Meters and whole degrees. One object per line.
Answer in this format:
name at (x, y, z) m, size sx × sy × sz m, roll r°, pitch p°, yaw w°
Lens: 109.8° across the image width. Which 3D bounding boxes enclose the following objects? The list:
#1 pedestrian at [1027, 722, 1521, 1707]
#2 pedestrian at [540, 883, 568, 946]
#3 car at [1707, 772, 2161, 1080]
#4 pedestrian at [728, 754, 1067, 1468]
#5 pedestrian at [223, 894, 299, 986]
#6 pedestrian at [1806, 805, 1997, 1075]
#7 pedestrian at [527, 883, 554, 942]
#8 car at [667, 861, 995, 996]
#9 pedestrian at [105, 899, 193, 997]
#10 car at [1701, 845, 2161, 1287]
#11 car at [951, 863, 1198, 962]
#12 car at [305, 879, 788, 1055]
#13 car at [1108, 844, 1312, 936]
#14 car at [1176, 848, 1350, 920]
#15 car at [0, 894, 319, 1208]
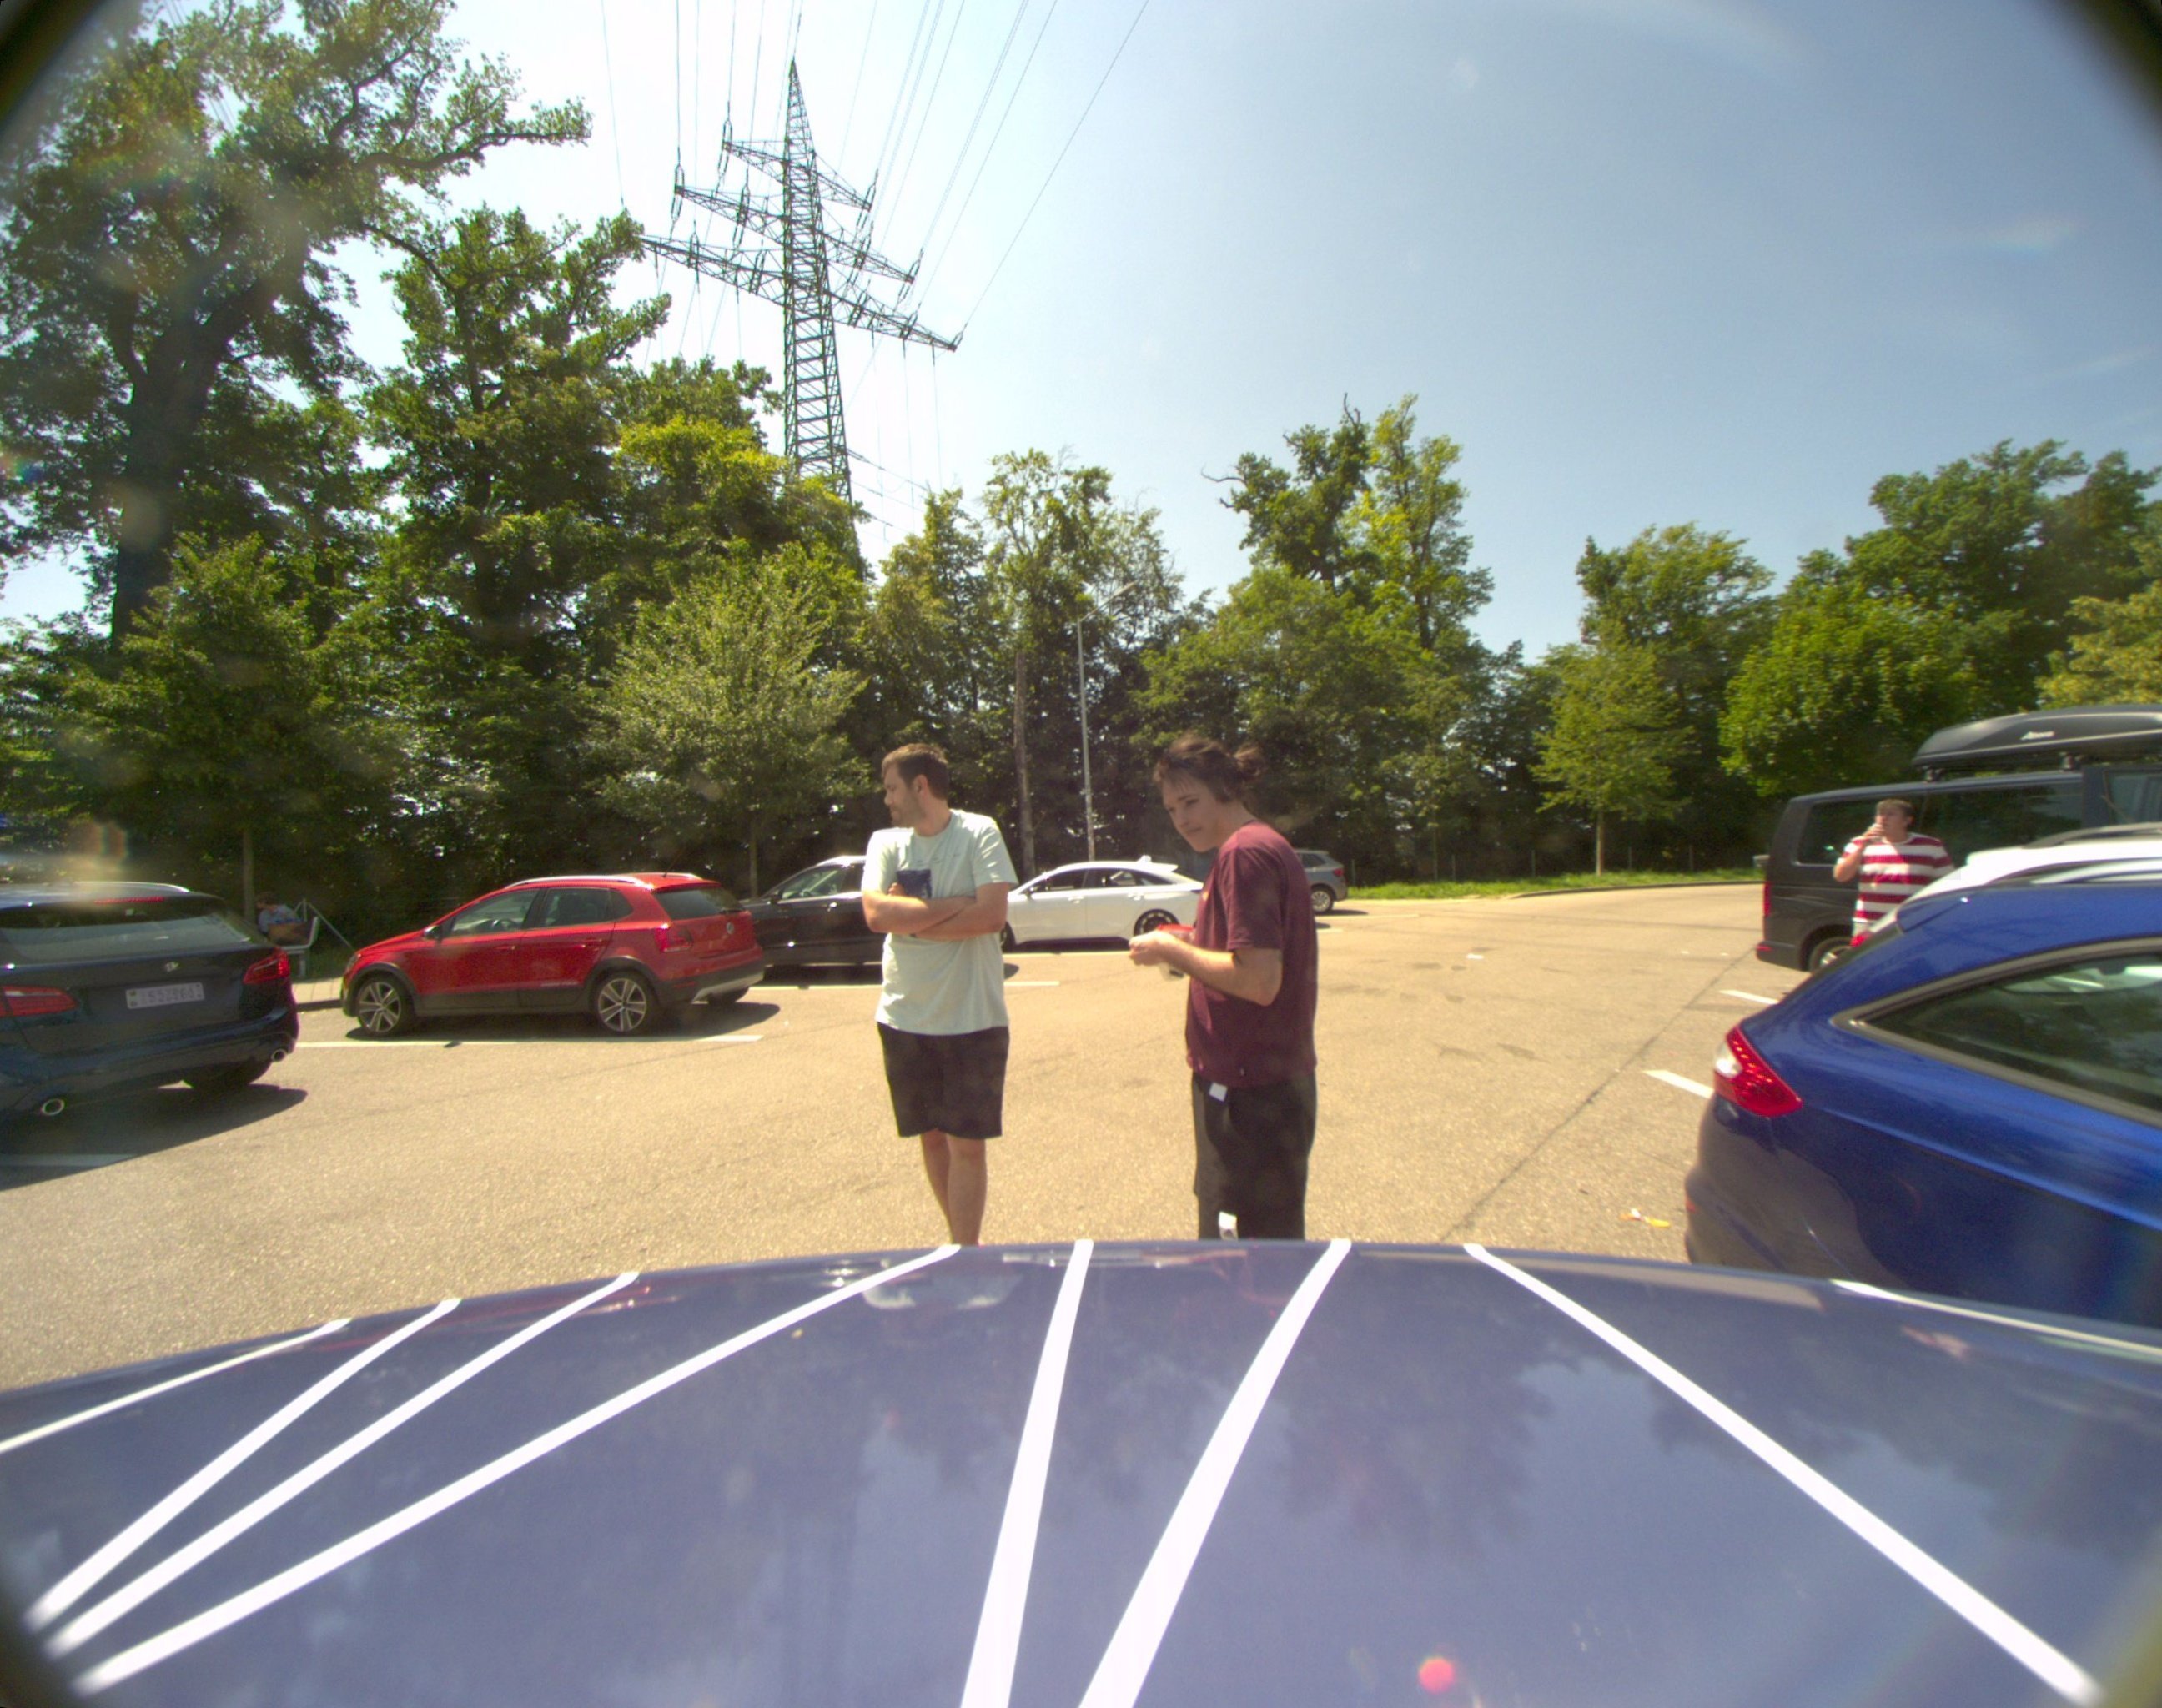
pedestrian at (0.476, 0.709, 1.941) m, size 0.919 × 1.894 × 0.815 m, roll -2°, pitch 1°, yaw 16°
pedestrian at (-10.154, 1.155, 14.637) m, size 0.357 × 1.158 × 0.384 m, roll -3°, pitch 2°, yaw -41°
car at (7.383, 0.409, 5.293) m, size 1.758 × 1.886 × 4.571 m, roll -3°, pitch -1°, yaw -9°
pedestrian at (-0.505, 0.709, 2.534) m, size 0.813 × 1.939 × 0.920 m, roll -2°, pitch 1°, yaw 1°
pedestrian at (-11.852, 1.221, 11.000) m, size 0.595 × 1.238 × 0.499 m, roll -3°, pitch 1°, yaw -33°
pedestrian at (5.837, 0.548, 5.419) m, size 0.786 × 1.744 × 0.753 m, roll -3°, pitch 1°, yaw -30°
pedestrian at (-10.998, 1.178, 15.452) m, size 0.357 × 1.158 × 0.384 m, roll -3°, pitch 2°, yaw -41°
car at (-3.240, 0.954, 10.311) m, size 3.825 × 1.546 × 1.651 m, roll -2°, pitch 1°, yaw 4°
pedestrian at (-12.719, 1.261, 10.386) m, size 0.595 × 1.238 × 0.446 m, roll -3°, pitch 1°, yaw -33°
car at (4.654, 0.724, 2.262) m, size 1.757 × 1.496 × 4.574 m, roll -3°, pitch -1°, yaw -1°
car at (-0.064, 0.925, 12.685) m, size 3.825 × 1.394 × 1.651 m, roll -2°, pitch 1°, yaw 4°
car at (-5.222, 1.083, 7.682) m, size 3.823 × 1.460 × 1.651 m, roll -2°, pitch 1°, yaw 8°
car at (2.618, 0.703, 15.467) m, size 3.822 × 1.686 × 1.652 m, roll -2°, pitch 1°, yaw 12°
car at (4.277, 0.699, 18.162) m, size 3.822 × 1.551 × 1.652 m, roll -2°, pitch 1°, yaw 12°
car at (-7.737, 1.121, 4.805) m, size 4.339 × 1.544 × 1.749 m, roll -1°, pitch 1°, yaw 6°
